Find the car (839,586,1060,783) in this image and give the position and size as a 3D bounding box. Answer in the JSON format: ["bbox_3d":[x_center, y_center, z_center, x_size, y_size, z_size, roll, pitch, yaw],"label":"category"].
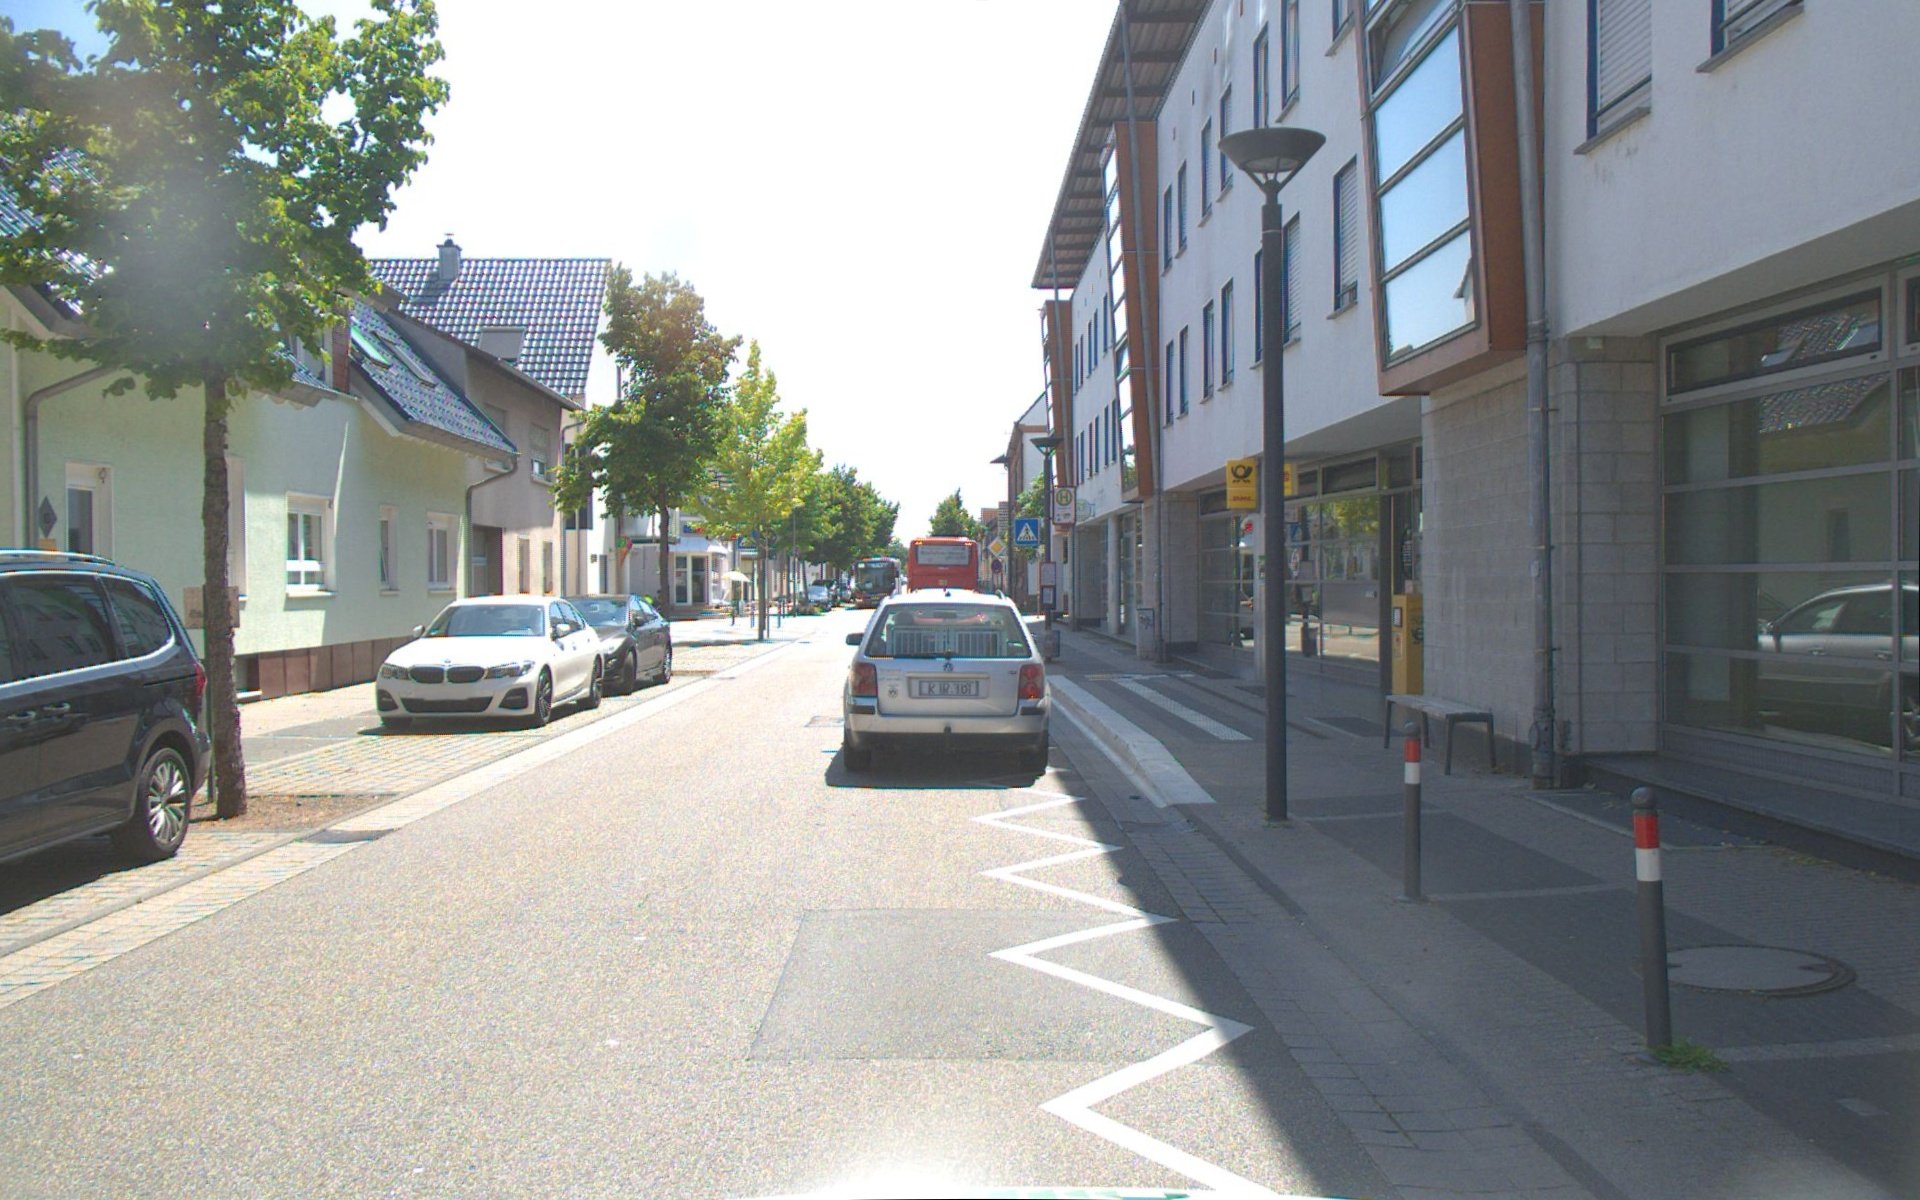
[{"bbox_3d":[-0.119,0.633,14.475,1.643,1.455,3.678,2,0,-1],"label":"car"}]

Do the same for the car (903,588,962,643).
[{"bbox_3d":[-0.752,0.406,46.051,1.561,1.455,3.679,1,0,0],"label":"car"}]

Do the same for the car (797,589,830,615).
[{"bbox_3d":[-8.330,0.107,94.294,1.572,1.463,4.064,0,0,-2],"label":"car"}]

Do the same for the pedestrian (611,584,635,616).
[{"bbox_3d":[-14.203,-0.010,69.673,0.631,1.311,0.776,2,0,-45],"label":"pedestrian"}]

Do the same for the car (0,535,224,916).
[{"bbox_3d":[-5.304,0.586,7.778,1.739,1.756,4.519,-1,0,-1],"label":"car"}]

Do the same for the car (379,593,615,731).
[{"bbox_3d":[-5.437,0.657,19.995,1.685,1.462,4.458,0,0,-1],"label":"car"}]

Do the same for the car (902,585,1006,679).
[{"bbox_3d":[-0.138,0.504,28.441,1.643,1.455,3.678,2,0,-1],"label":"car"}]

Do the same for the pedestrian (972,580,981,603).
[{"bbox_3d":[1.236,-0.666,122.481,0.594,1.696,0.789,0,0,-3],"label":"pedestrian"}]

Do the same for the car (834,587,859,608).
[{"bbox_3d":[-8.725,-0.197,127.348,1.775,1.586,3.999,0,0,-2],"label":"car"}]

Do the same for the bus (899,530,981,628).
[{"bbox_3d":[-0.916,-0.736,62.858,2.685,3.356,12.698,0,0,-3],"label":"bus"}]

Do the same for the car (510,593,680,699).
[{"bbox_3d":[-5.525,0.640,25.559,1.627,1.462,4.538,0,0,0],"label":"car"}]

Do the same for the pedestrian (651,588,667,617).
[{"bbox_3d":[-12.847,0.109,70.681,0.610,1.199,0.696,0,0,-5],"label":"pedestrian"}]

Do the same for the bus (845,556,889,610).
[{"bbox_3d":[-6.124,-1.237,108.957,2.616,3.178,17.797,-1,1,-3],"label":"bus"}]

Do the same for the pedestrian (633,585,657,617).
[{"bbox_3d":[-13.207,0.045,69.290,0.631,1.311,0.776,2,0,-45],"label":"pedestrian"}]
